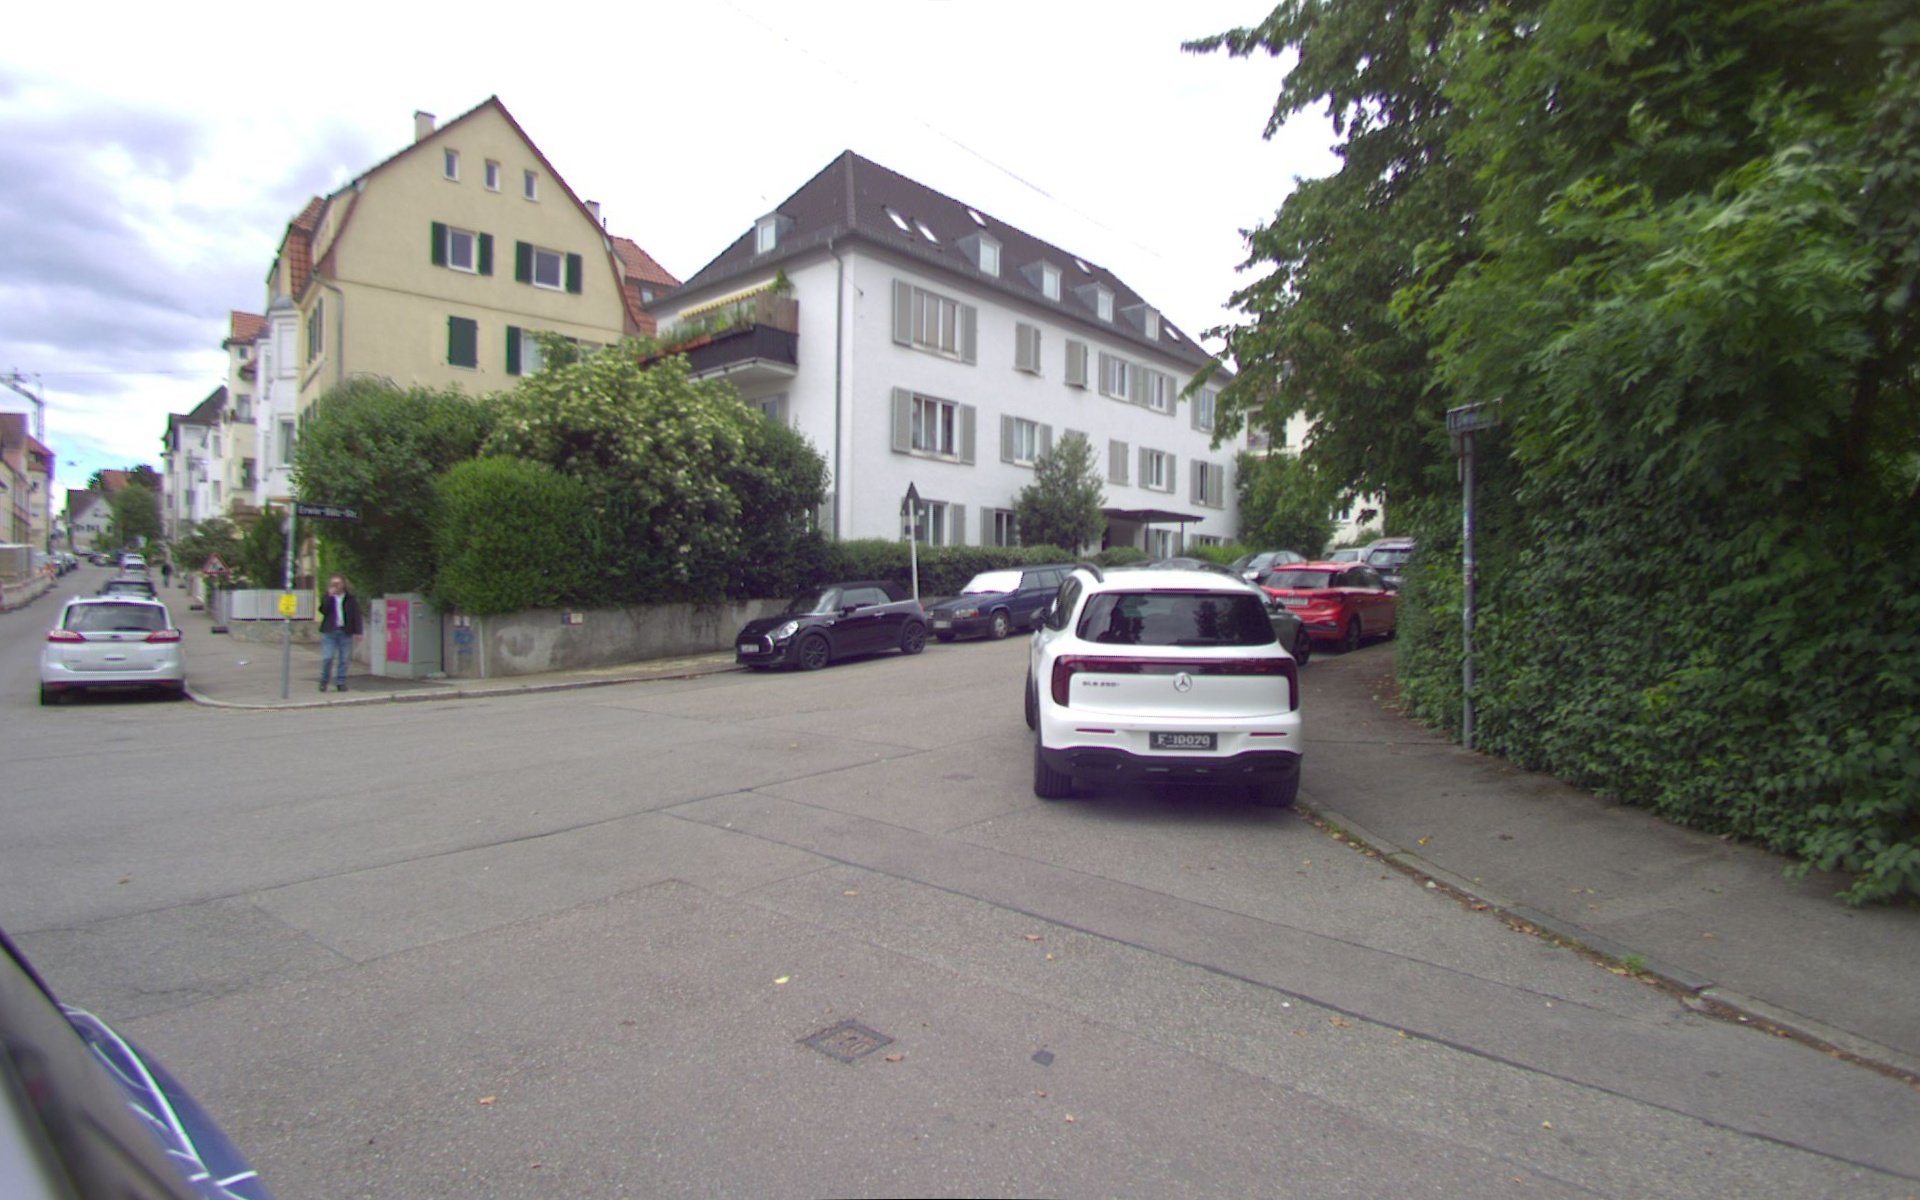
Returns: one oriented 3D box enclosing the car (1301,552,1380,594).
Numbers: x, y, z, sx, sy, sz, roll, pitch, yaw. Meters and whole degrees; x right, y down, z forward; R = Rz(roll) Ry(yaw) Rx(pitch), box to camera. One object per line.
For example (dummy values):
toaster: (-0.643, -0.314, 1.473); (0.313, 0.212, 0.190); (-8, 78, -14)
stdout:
car: (13.925, -1.008, 36.908); (1.540, 1.398, 3.503); (-1, 2, 41)

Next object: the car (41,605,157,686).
car: (-17.413, 0.889, 20.546); (1.586, 1.464, 3.620); (4, -2, -40)

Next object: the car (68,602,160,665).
car: (-23.126, 0.862, 27.720); (1.780, 1.491, 4.336); (2, 0, -39)

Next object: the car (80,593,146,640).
car: (-29.455, 0.561, 35.246); (1.618, 1.409, 3.710); (4, -1, -40)

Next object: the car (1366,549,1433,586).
car: (18.069, -1.342, 41.539); (1.540, 1.398, 3.332); (-1, 2, 41)

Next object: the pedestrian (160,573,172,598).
pedestrian: (-53.949, -0.970, 68.757); (0.607, 1.669, 0.814); (0, 1, -38)

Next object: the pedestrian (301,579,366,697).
pedestrian: (-9.765, 0.573, 15.778); (0.822, 1.773, 0.635); (-2, 0, 43)

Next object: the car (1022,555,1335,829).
car: (1.485, 0.543, 8.514); (1.810, 1.668, 4.511); (-1, 1, 3)

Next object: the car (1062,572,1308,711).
car: (3.273, 0.438, 13.964); (1.829, 1.448, 4.464); (-1, 3, 33)

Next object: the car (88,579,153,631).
car: (-32.498, 0.169, 39.152); (1.727, 1.810, 4.155); (3, 0, -42)

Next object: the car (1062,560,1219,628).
car: (4.830, -0.205, 26.628); (1.888, 1.493, 4.670); (-1, 3, 42)

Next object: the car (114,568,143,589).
car: (-70.828, -1.836, 86.228); (1.755, 1.578, 4.009); (2, 1, -38)

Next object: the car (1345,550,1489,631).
car: (10.254, -0.258, 22.534); (1.763, 1.561, 4.194); (0, 3, 41)

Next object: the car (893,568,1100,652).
car: (0.908, 0.146, 22.297); (1.889, 1.493, 4.667); (-1, 3, 44)

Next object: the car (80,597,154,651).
car: (-26.323, 0.723, 31.626); (1.618, 1.439, 4.131); (3, 0, -40)

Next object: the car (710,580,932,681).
car: (-2.434, 0.494, 18.323); (1.787, 1.534, 3.669); (-2, 1, 42)

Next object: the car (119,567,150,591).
car: (-60.067, -1.545, 73.669); (1.637, 1.578, 4.009); (2, 1, -38)

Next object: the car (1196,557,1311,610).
car: (9.222, -0.546, 31.638); (1.792, 1.428, 4.232); (-1, 3, 42)

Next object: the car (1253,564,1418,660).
car: (6.699, 0.144, 17.858); (1.631, 1.448, 3.740); (-1, 2, 38)

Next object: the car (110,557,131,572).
car: (-98.792, -4.200, 119.053); (1.755, 1.578, 4.009); (1, 2, -38)

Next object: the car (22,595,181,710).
car: (-14.218, 0.816, 16.848); (1.781, 1.672, 4.158); (2, -2, -40)
